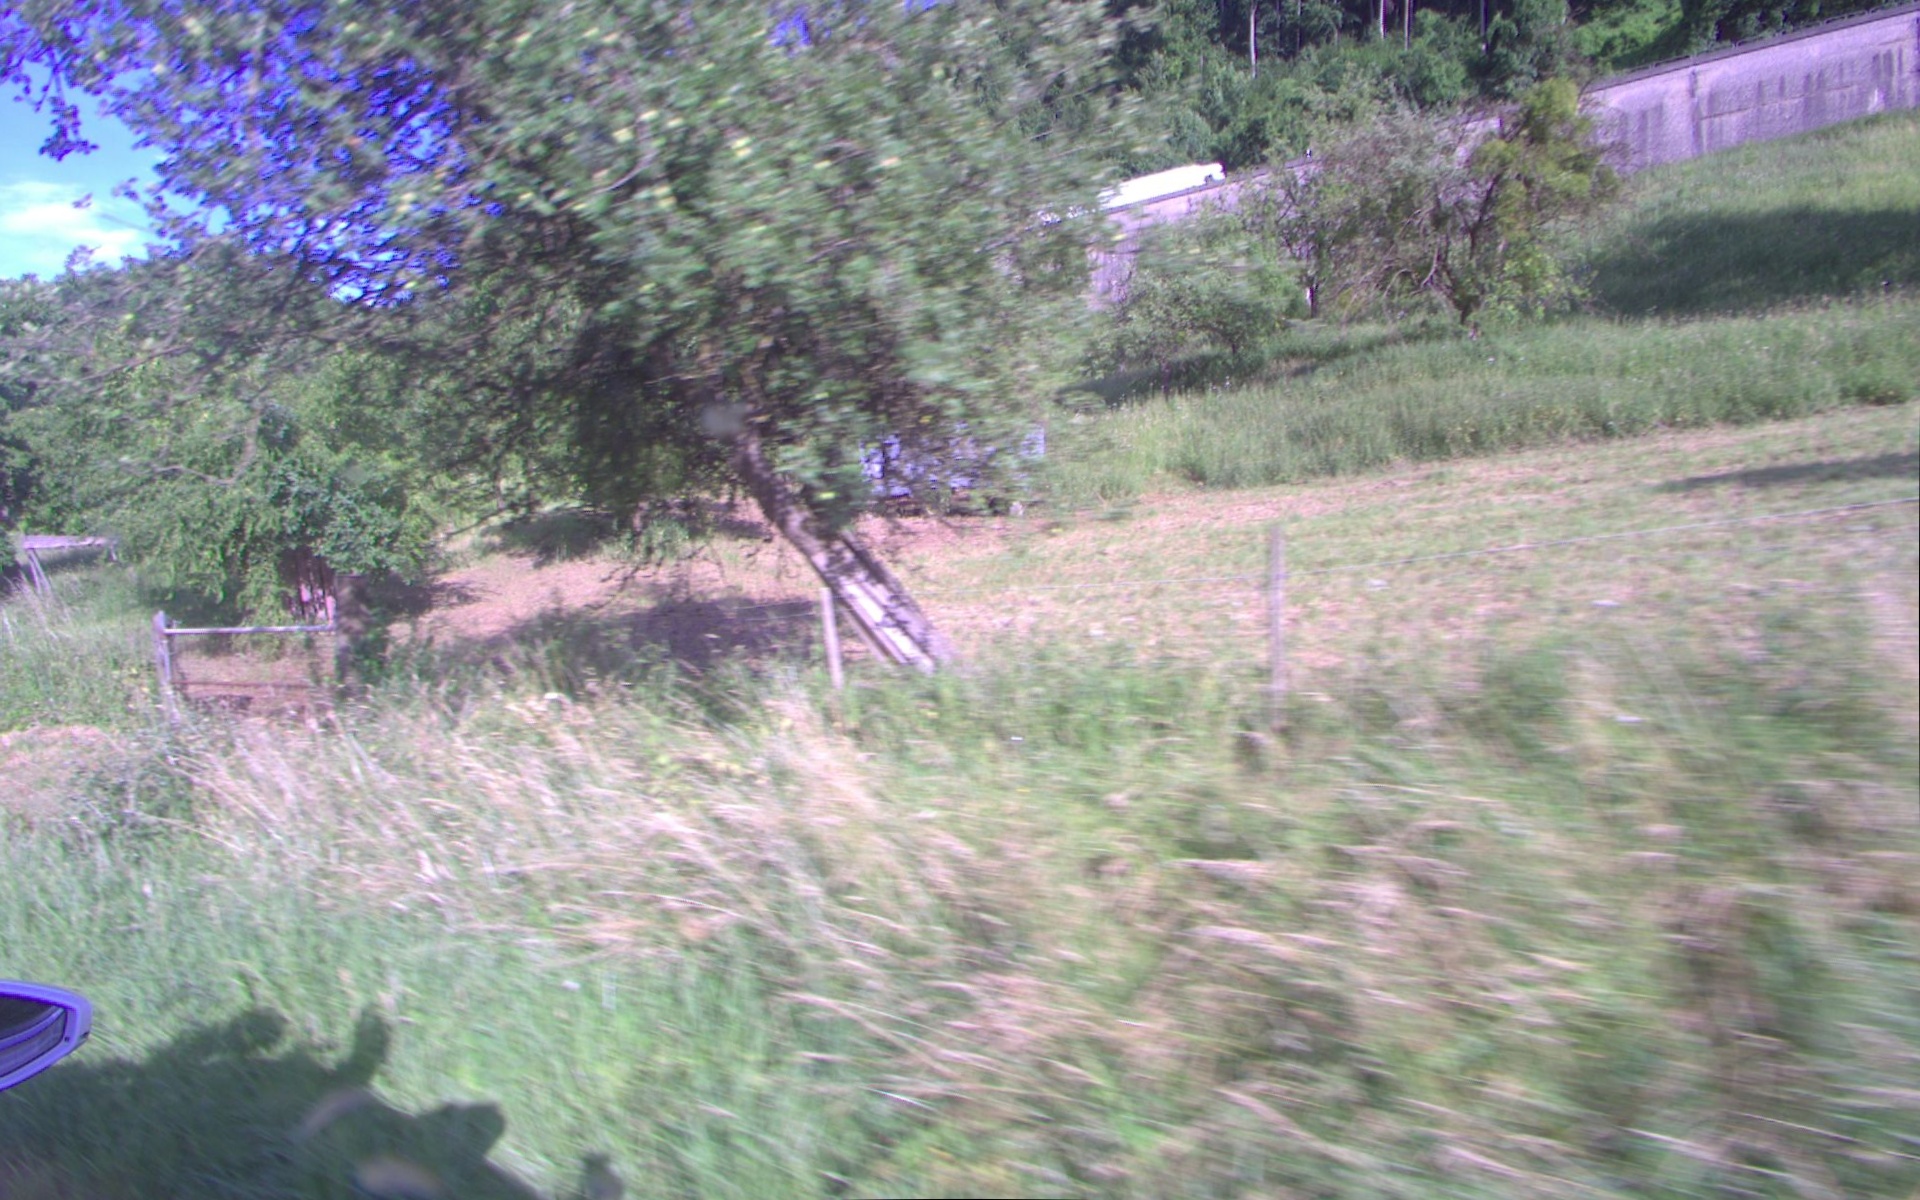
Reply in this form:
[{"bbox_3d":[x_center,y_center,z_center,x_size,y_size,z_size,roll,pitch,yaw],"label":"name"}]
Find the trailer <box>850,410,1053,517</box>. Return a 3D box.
[{"bbox_3d":[-0.271,-3.617,27.365,5.163,2.595,2.149,3,4,28],"label":"trailer"}]
